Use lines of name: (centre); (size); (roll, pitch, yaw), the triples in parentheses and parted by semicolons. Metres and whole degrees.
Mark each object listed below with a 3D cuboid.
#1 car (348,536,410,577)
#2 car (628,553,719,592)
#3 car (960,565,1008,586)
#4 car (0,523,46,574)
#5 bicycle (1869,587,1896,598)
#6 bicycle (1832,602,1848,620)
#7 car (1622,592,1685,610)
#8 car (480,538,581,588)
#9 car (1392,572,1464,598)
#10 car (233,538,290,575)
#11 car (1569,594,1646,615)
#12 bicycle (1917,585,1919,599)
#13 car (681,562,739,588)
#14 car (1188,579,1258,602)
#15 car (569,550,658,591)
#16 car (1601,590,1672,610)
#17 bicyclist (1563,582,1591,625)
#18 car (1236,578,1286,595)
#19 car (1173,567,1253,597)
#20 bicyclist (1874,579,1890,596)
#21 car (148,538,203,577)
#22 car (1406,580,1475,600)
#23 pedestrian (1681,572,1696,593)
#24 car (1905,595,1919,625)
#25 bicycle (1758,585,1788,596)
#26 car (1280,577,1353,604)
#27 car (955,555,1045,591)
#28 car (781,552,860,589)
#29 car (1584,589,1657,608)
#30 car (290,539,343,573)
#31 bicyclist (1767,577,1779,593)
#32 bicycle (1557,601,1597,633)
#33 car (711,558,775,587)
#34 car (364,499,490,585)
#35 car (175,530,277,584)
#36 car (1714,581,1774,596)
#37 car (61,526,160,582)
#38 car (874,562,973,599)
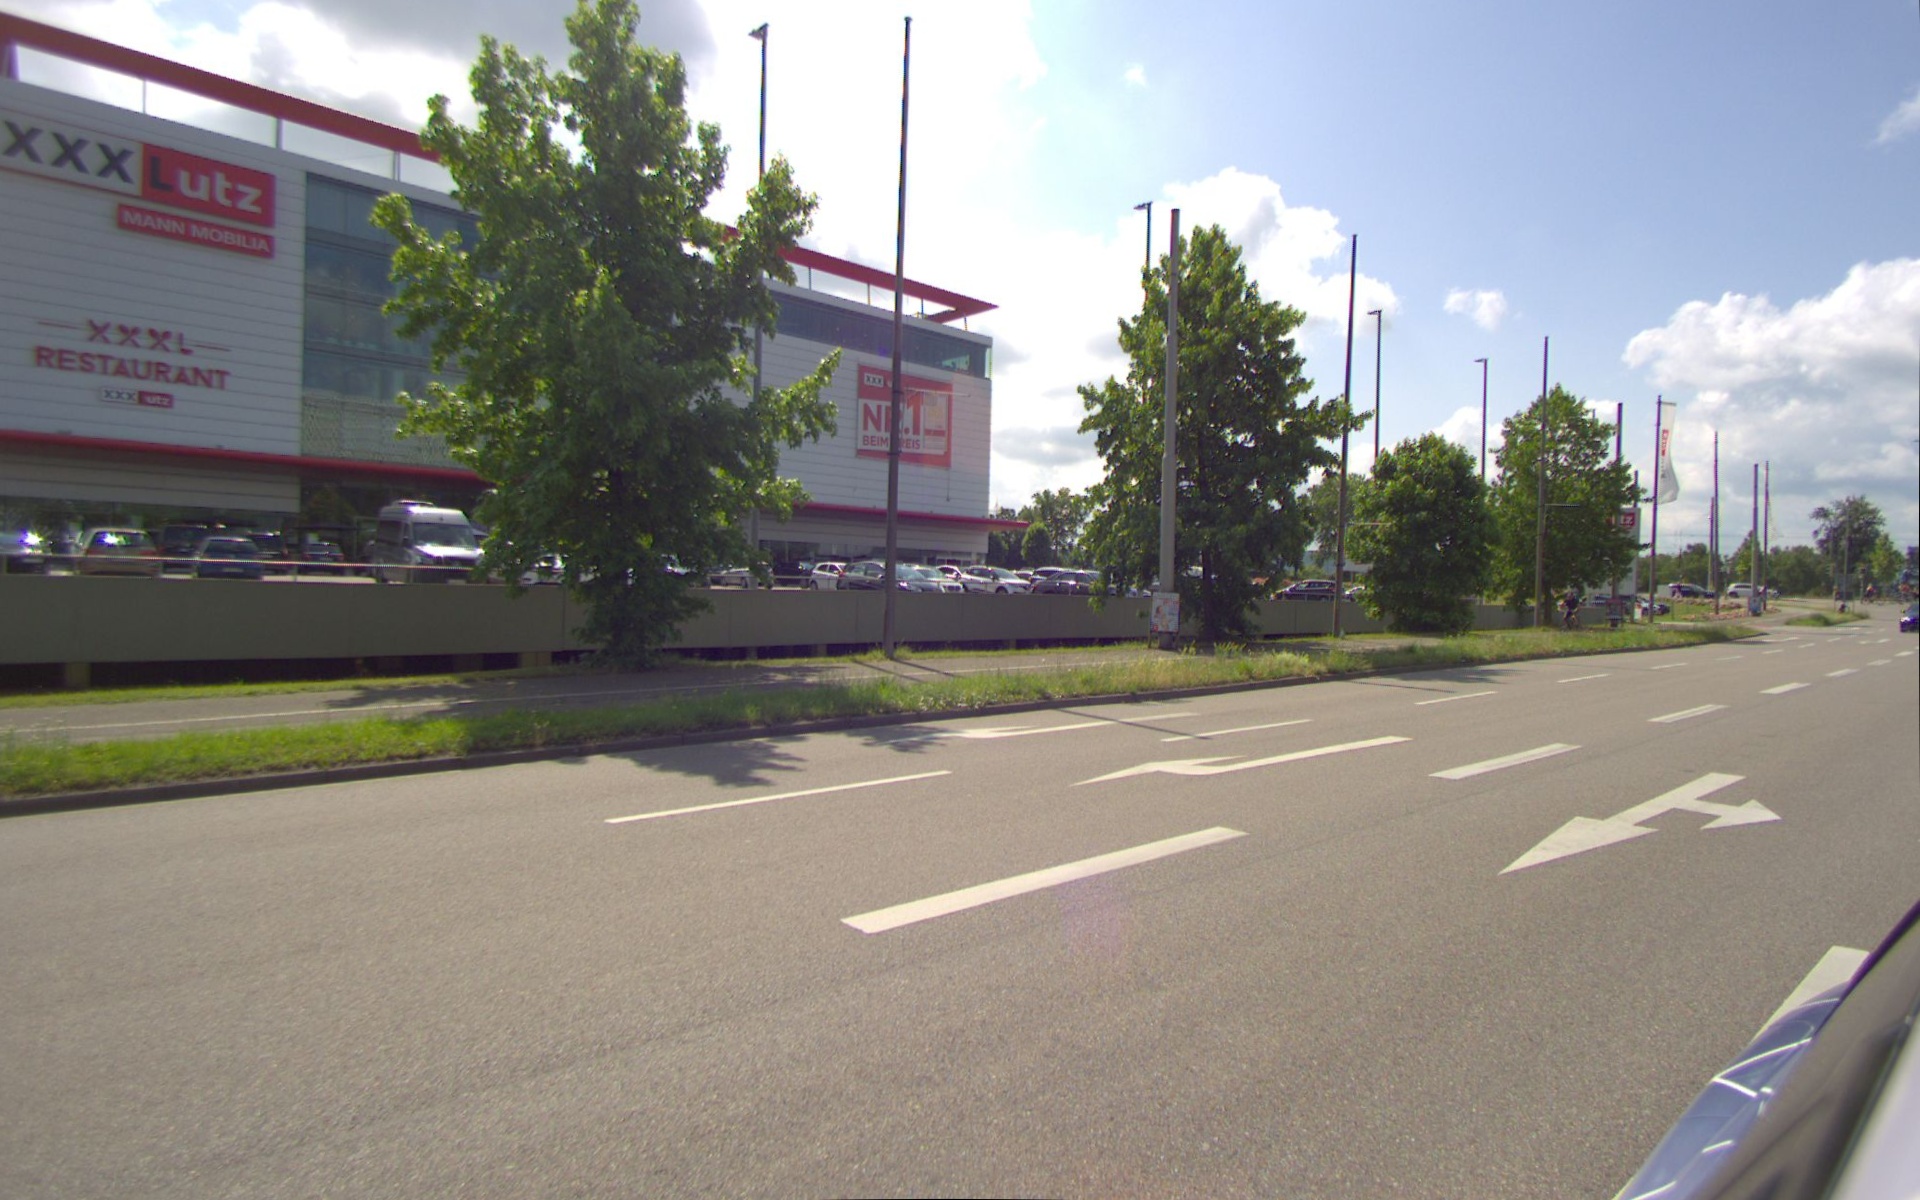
car: (-26.980, -1.974, 46.965); (1.719, 1.727, 3.747); (1, 0, -42)
car: (-11.650, -1.120, 41.004); (1.860, 1.452, 4.190); (1, 2, -42)
car: (2.047, -2.117, 88.302); (1.966, 1.745, 3.991); (1, 0, -43)
car: (-32.176, -1.711, 34.314); (1.608, 1.595, 3.899); (1, 0, -44)
bicycle: (80.297, -0.648, 88.108); (1.665, 0.973, 0.665); (1, 0, 2)
bicycle: (48.946, 0.603, 56.313); (1.518, 0.964, 0.517); (-1, 1, -43)
car: (57.165, 0.056, 83.466); (1.687, 1.435, 3.991); (-1, 2, -43)
car: (-13.929, -1.153, 32.730); (1.718, 1.533, 3.991); (-1, 1, -43)
car: (30.918, -0.996, 66.963); (1.666, 1.608, 4.019); (2, 0, -43)
car: (-30.347, -1.848, 43.941); (1.606, 1.461, 3.903); (1, 0, -41)
car: (46.857, 0.294, 73.336); (1.824, 1.495, 4.367); (0, 0, -40)
bicycle: (84.112, -0.713, 87.786); (1.478, 1.180, 0.620); (1, 0, 5)
car: (-14.643, -1.445, 59.079); (1.601, 1.438, 3.992); (1, 0, -42)
car: (17.776, -0.665, 68.551); (1.728, 1.446, 4.296); (2, 0, -41)
car: (-13.319, -1.140, 38.778); (1.696, 1.452, 4.190); (1, 2, -42)
car: (53.780, -0.007, 80.521); (1.765, 1.458, 4.366); (0, 1, -41)
bicyclist: (21.322, 0.117, 34.962); (0.702, 1.430, 0.616); (1, 0, -41)
car: (26.542, -1.155, 89.284); (1.639, 1.470, 3.994); (1, 0, -41)
car: (14.551, -1.055, 58.286); (1.735, 1.572, 4.188); (1, 2, -43)
bicyclist: (80.280, -1.073, 88.126); (0.729, 1.494, 0.651); (1, 0, 2)
car: (-32.258, -1.713, 41.576); (1.557, 1.483, 3.531); (1, 0, -41)
car: (36.606, -0.776, 77.100); (1.814, 1.379, 4.369); (2, 1, -40)
pedestrian: (65.940, -1.541, 91.579); (0.864, 1.786, 0.849); (6, 1, 44)
car: (44.486, 0.457, 45.956); (4.088, 1.335, 1.796); (0, 0, -40)
bicycle: (72.401, -0.823, 90.158); (1.960, 0.973, 0.594); (1, 0, 17)
car: (22.628, -0.625, 64.287); (4.050, 1.550, 1.717); (3, 3, 41)
car: (1.819, -1.238, 47.057); (1.967, 1.590, 3.990); (-1, 1, -44)
car: (-6.881, -1.414, 49.745); (1.965, 1.742, 3.993); (1, 0, -41)
car: (50.094, -0.109, 76.821); (1.825, 1.434, 4.365); (0, 0, -41)
car: (-29.183, -1.976, 45.885); (1.525, 1.387, 3.443); (1, 0, -41)
bicyclist: (72.429, -1.342, 90.152); (0.678, 1.342, 0.589); (1, 0, 16)
bicycle: (21.337, 0.576, 34.988); (1.934, 1.081, 0.624); (0, 1, -42)
car: (-11.678, -1.454, 54.360); (1.601, 1.438, 3.992); (1, 0, -42)
car: (-16.596, -1.678, 31.327); (2.027, 2.396, 5.664); (-1, 1, -43)
car: (-22.773, -1.268, 31.328); (1.954, 1.502, 4.872); (-1, 1, -43)
car: (77.053, -1.139, 99.519); (1.981, 1.430, 4.485); (0, 2, -45)
car: (-24.757, -1.283, 29.432); (1.954, 1.472, 4.872); (-1, 1, -43)
car: (-1.612, -0.847, 43.409); (1.862, 1.406, 4.187); (1, 2, -45)
